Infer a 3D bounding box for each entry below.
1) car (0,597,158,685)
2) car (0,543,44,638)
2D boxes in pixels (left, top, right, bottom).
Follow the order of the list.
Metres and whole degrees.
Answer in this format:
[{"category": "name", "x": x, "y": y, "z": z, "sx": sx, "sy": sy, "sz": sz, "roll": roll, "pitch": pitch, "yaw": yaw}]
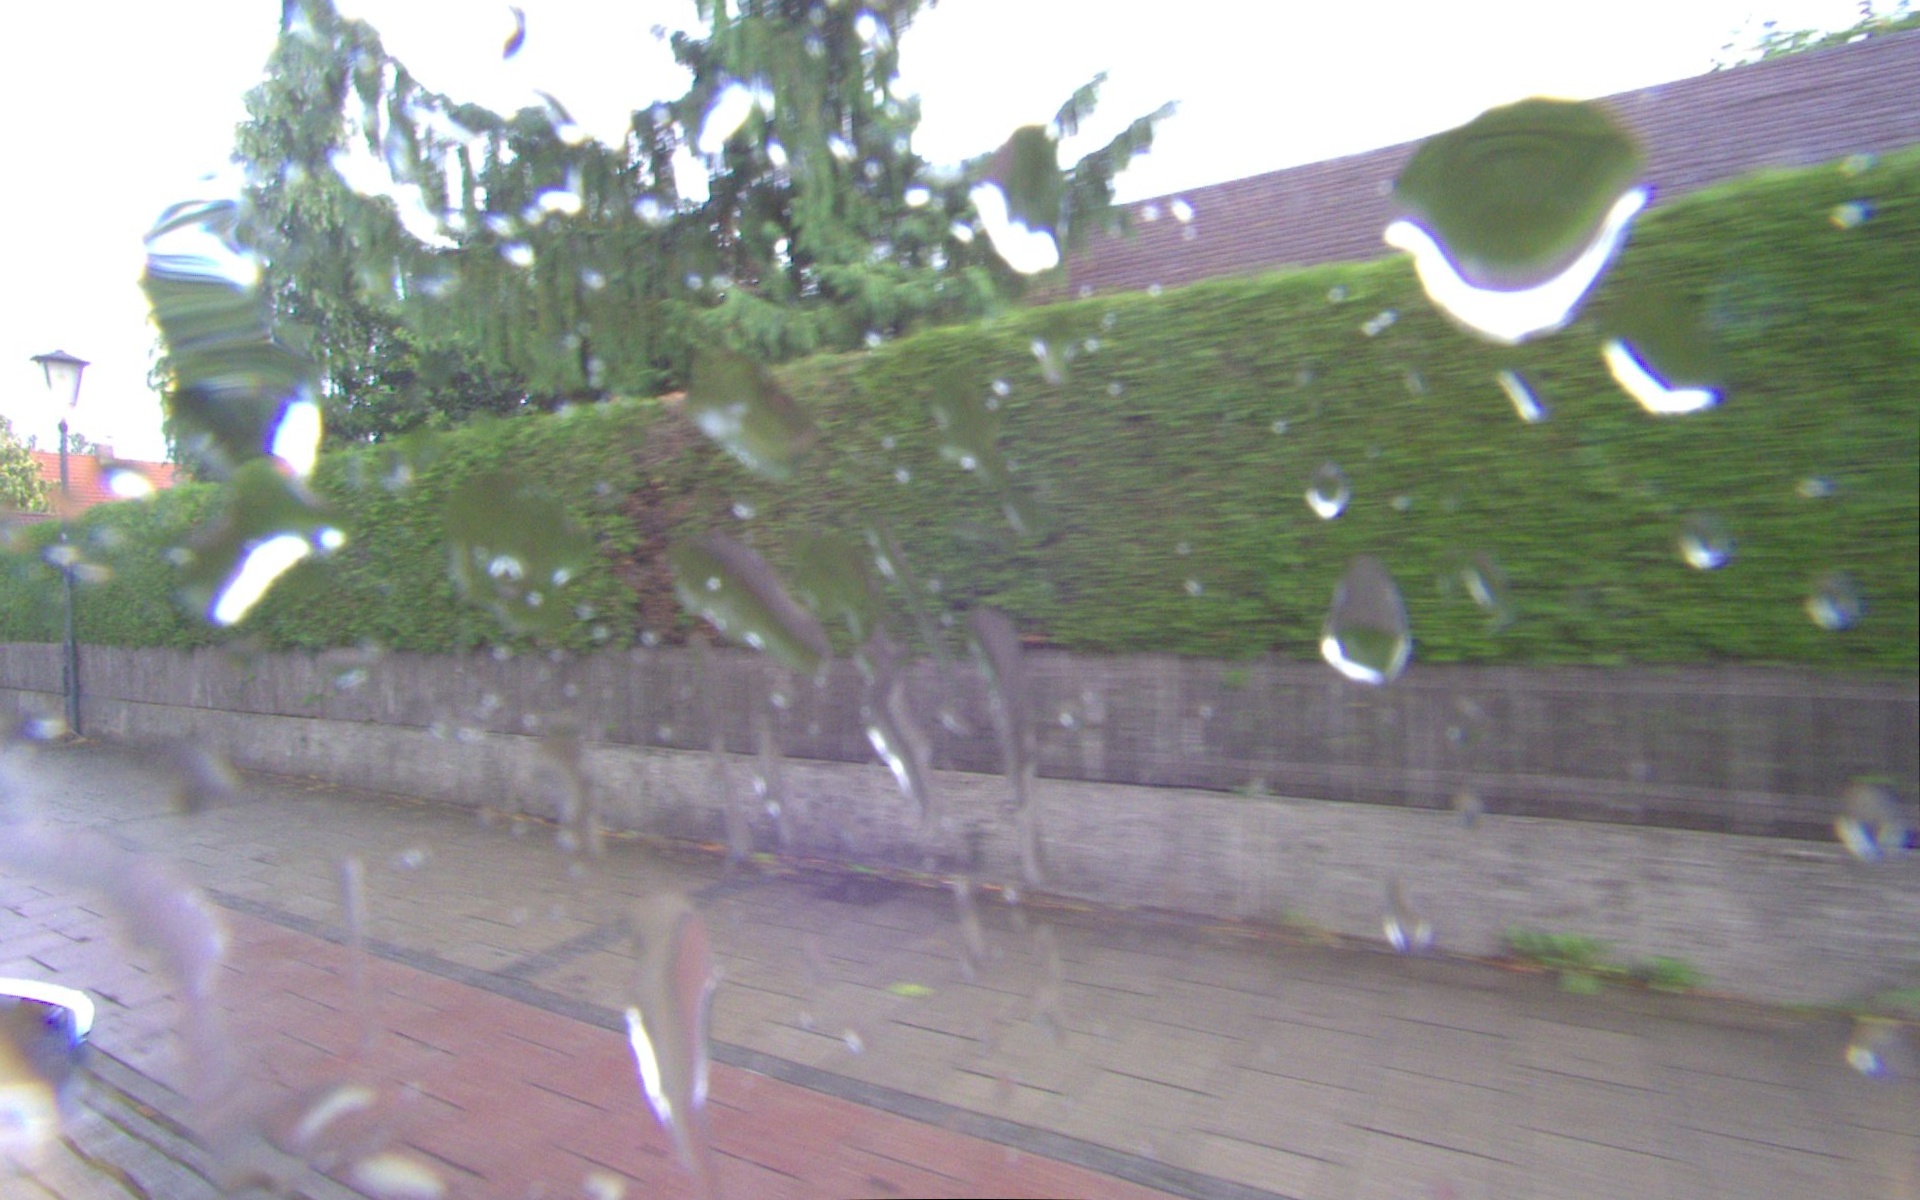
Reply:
[{"category": "car", "x": -20.203, "y": 0.849, "z": 21.687, "sx": 1.669, "sy": 1.776, "sz": 4.086, "roll": 2, "pitch": 1, "yaw": 30}, {"category": "car", "x": -24.691, "y": -0.186, "z": 24.042, "sx": 4.868, "sy": 2.201, "sz": 1.996, "roll": -1, "pitch": -2, "yaw": 21}]
